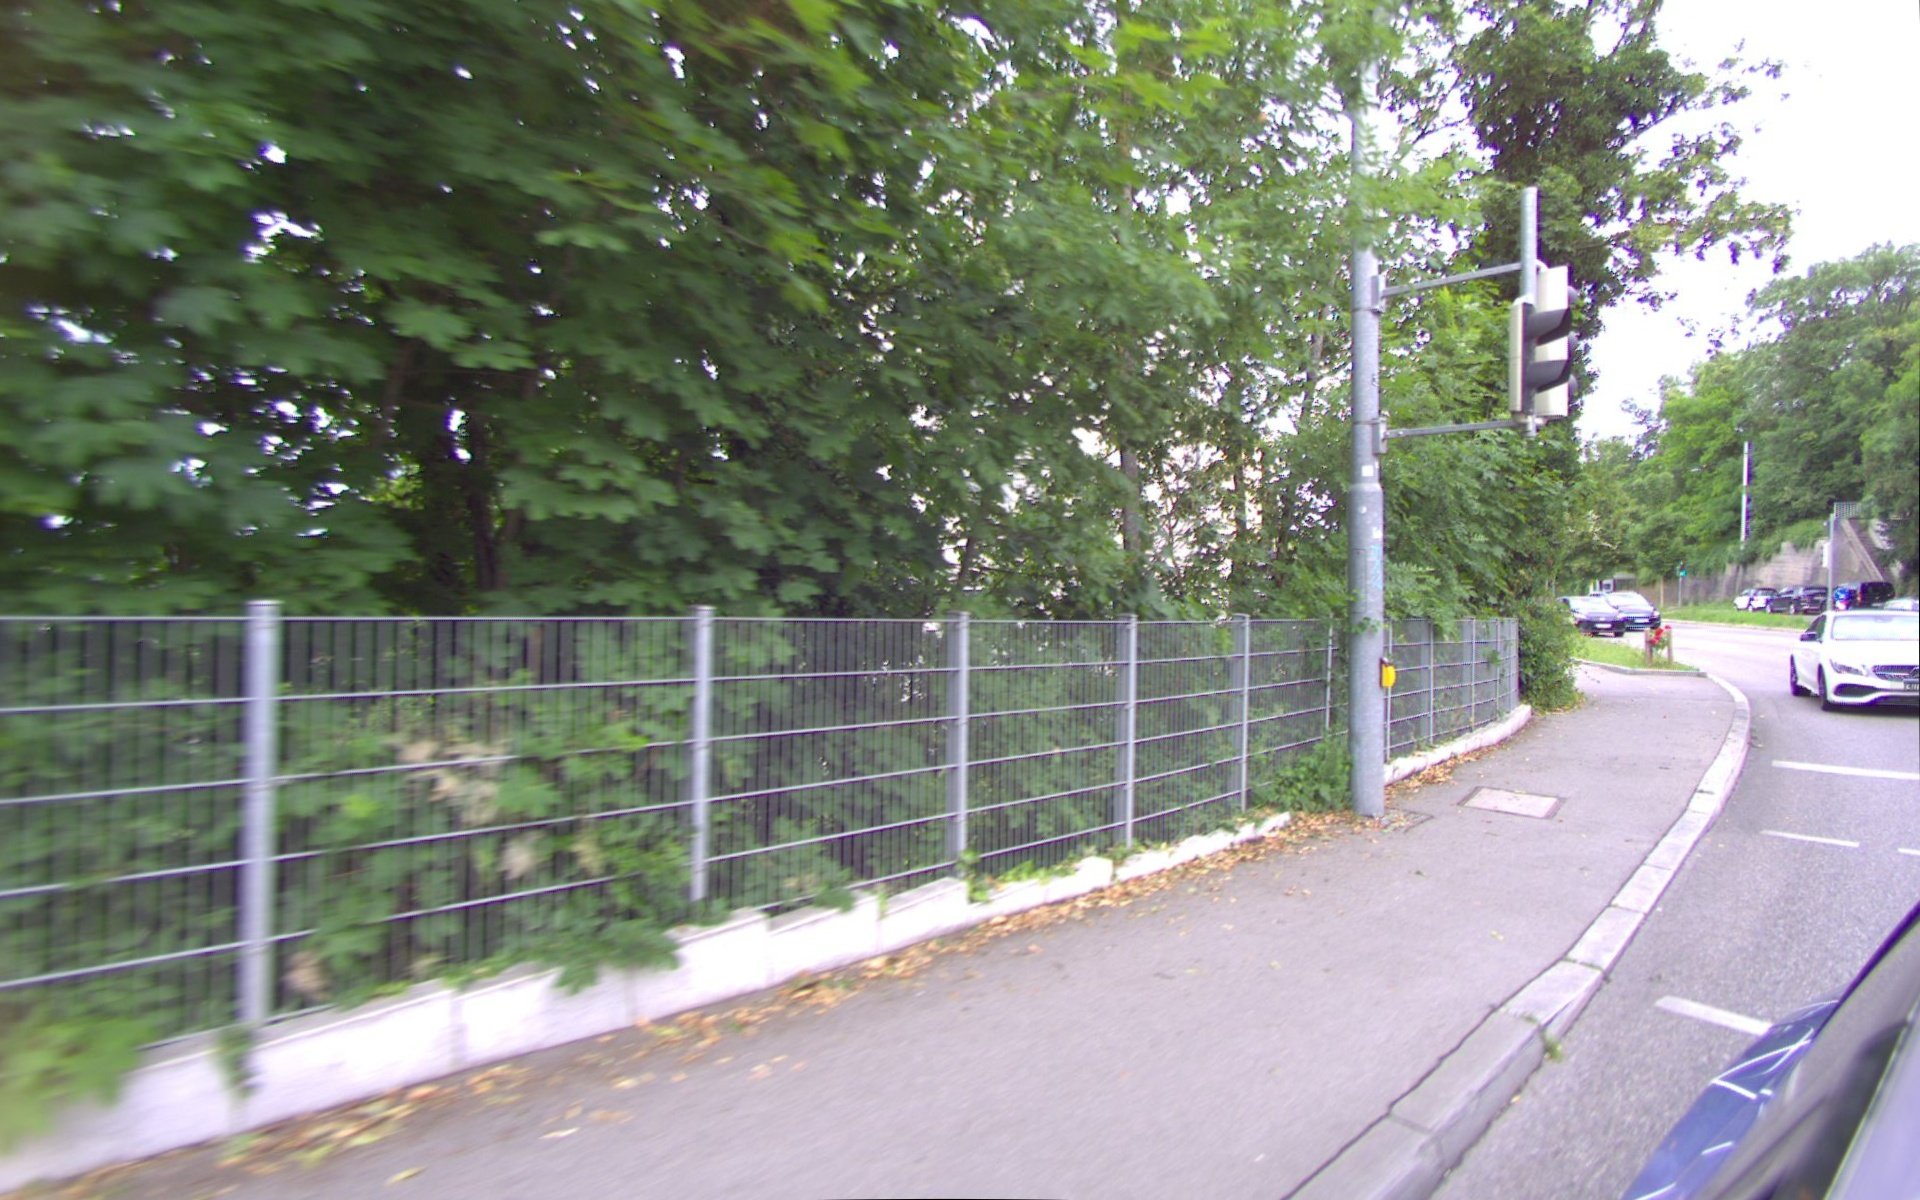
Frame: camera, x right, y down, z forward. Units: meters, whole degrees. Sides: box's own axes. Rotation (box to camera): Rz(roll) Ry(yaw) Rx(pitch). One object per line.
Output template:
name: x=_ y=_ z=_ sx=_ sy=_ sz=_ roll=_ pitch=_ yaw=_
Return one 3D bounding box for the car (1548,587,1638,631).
car: x=24.269 y=0.335 z=38.957 sx=1.753 sy=1.561 sz=3.982 roll=-2 pitch=0 yaw=14

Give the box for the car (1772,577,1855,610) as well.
car: x=47.732 y=-0.377 z=56.731 sx=1.950 sy=1.677 sz=4.505 roll=-2 pitch=0 yaw=18

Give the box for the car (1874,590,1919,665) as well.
car: x=20.430 y=0.544 z=20.311 sx=1.898 sy=1.500 sz=4.360 roll=-2 pitch=-1 yaw=26

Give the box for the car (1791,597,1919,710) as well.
car: x=13.628 y=0.696 z=14.779 sx=1.805 sy=1.416 sz=3.954 roll=-1 pitch=0 yaw=33

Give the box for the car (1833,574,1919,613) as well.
car: x=46.235 y=-0.316 z=50.946 sx=1.761 sy=1.866 sz=4.462 roll=-2 pitch=-1 yaw=17

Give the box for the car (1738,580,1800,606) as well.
car: x=49.360 y=-0.406 z=61.818 sx=1.759 sy=1.517 sz=3.084 roll=-2 pitch=-1 yaw=14
